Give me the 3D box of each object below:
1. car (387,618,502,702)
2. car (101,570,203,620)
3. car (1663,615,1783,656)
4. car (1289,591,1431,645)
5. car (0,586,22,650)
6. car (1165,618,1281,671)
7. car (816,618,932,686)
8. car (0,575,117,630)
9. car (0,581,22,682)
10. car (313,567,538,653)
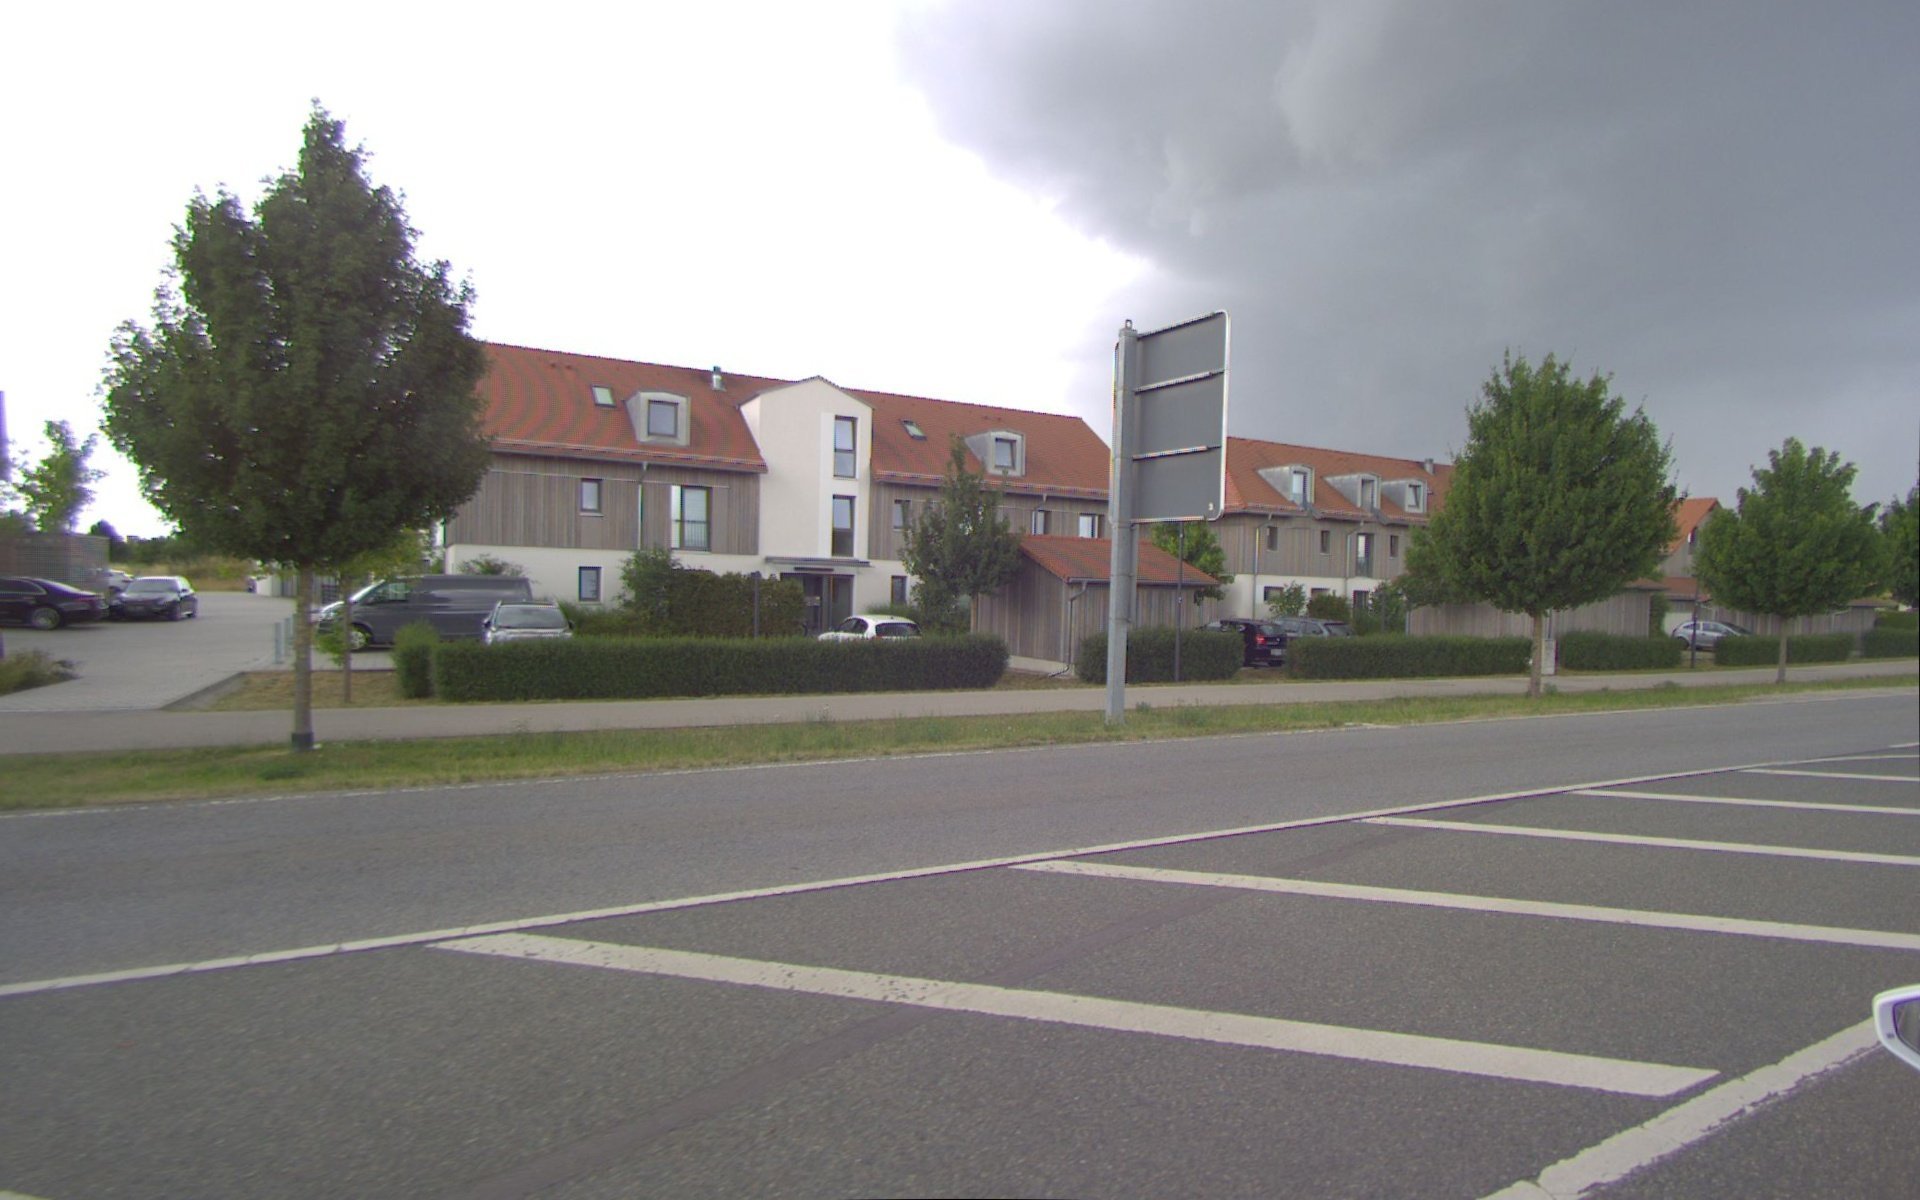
[{"bbox_3d":[-10.672,1.136,20.781,1.882,1.449,4.885,1,0,-28],"label":"car"},{"bbox_3d":[-27.823,-0.167,34.728,1.975,1.607,3.972,1,0,-27],"label":"car"},{"bbox_3d":[35.826,1.642,47.267,1.975,1.577,3.970,1,2,-28],"label":"car"},{"bbox_3d":[12.885,0.554,32.601,1.975,1.639,3.971,1,0,-28],"label":"car"},{"bbox_3d":[-24.621,0.393,23.194,3.953,1.528,1.984,1,0,-30],"label":"car"},{"bbox_3d":[8.237,1.367,31.697,1.545,1.509,3.498,1,0,-29],"label":"car"},{"bbox_3d":[-2.204,1.233,24.997,1.545,1.509,3.498,1,0,-29],"label":"car"},{"bbox_3d":[-27.399,0.090,29.361,3.948,1.547,1.563,1,-1,-27],"label":"car"},{"bbox_3d":[-17.681,0.566,16.427,1.880,1.840,4.892,1,0,-24],"label":"car"},{"bbox_3d":[-14.140,0.267,26.868,5.133,2.041,1.986,1,4,-27],"label":"car"}]
